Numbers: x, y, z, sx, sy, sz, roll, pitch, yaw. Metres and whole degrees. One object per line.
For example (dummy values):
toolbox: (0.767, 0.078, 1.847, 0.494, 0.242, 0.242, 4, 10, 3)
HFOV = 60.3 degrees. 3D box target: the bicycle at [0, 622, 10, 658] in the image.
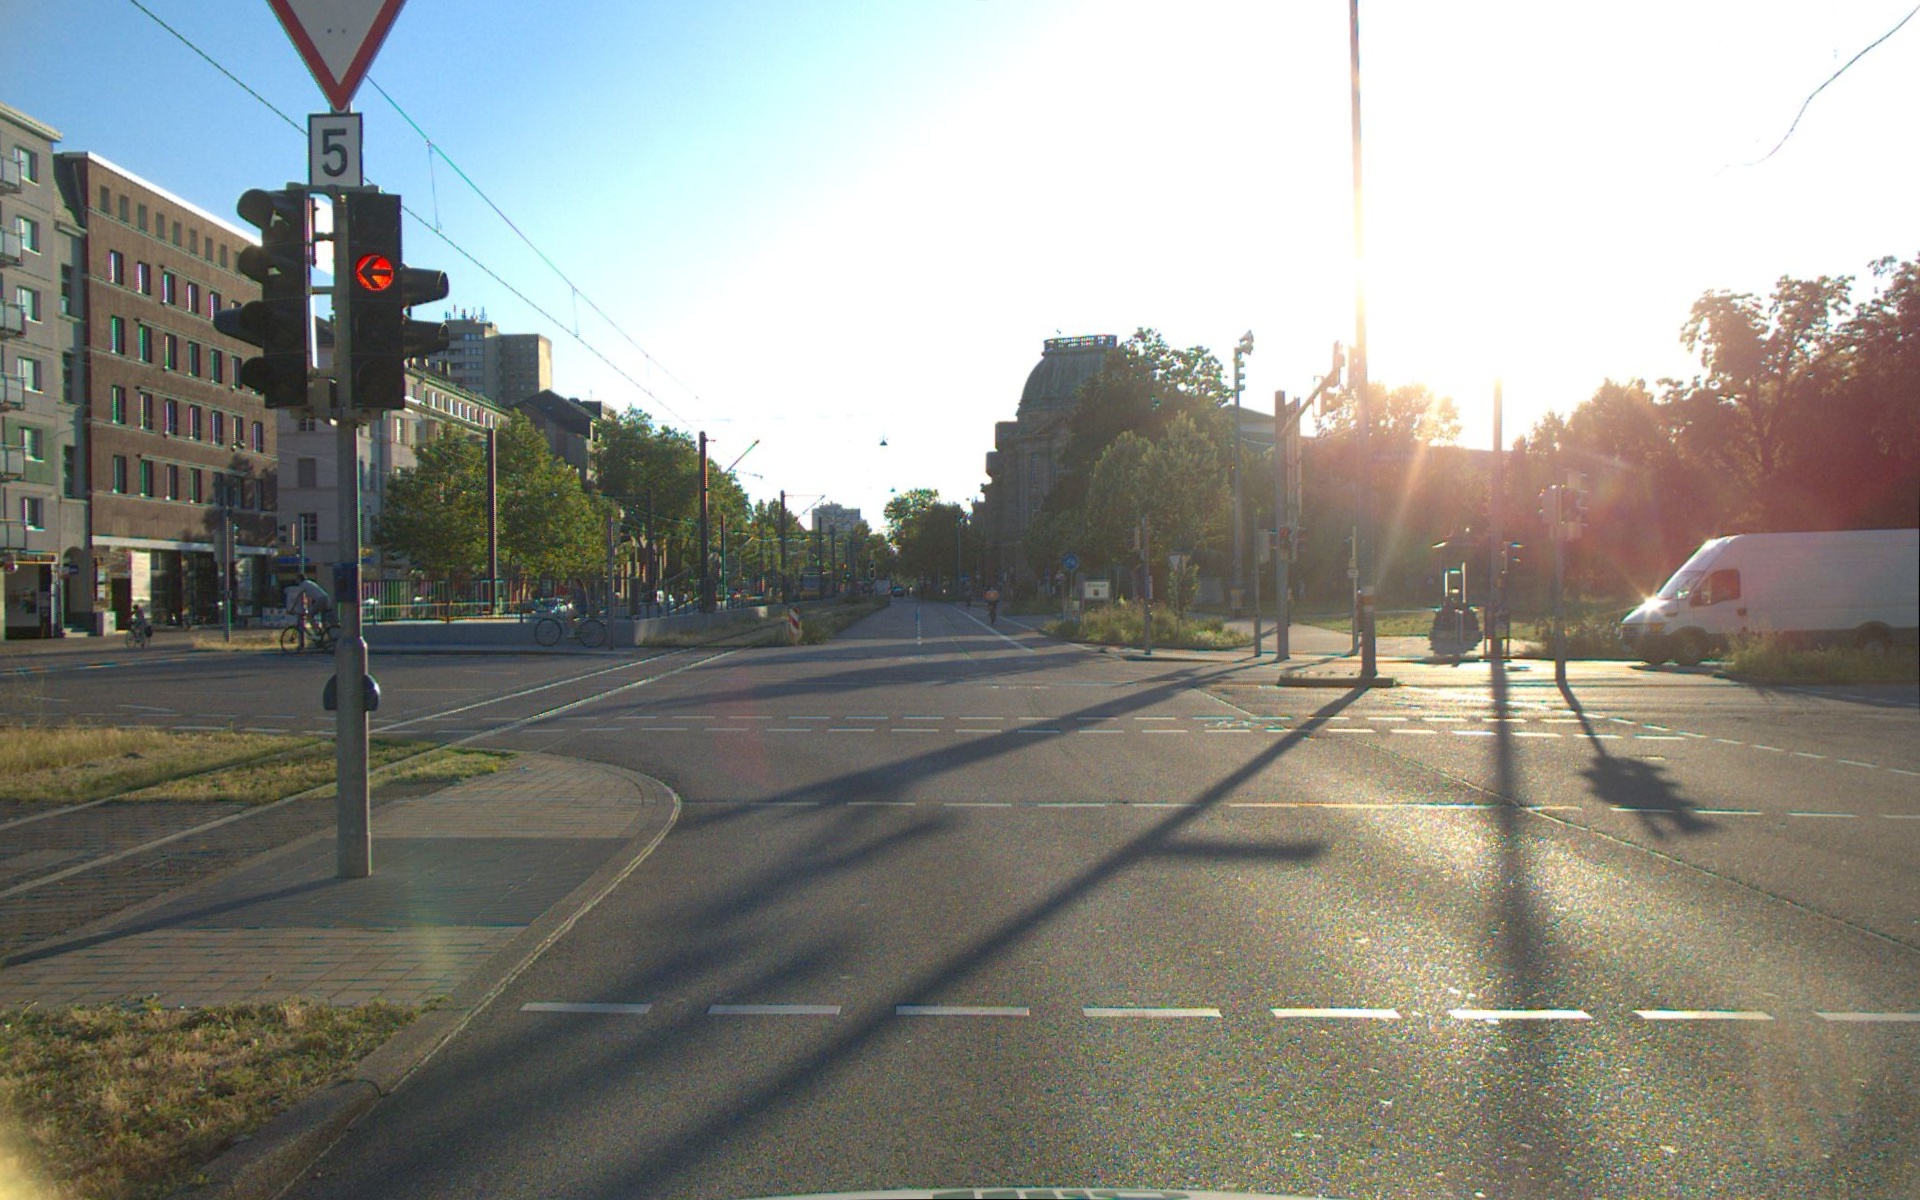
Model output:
bicycle: (-32.915, 1.352, 55.478, 1.655, 1.173, 0.705, -1, 0, 1)

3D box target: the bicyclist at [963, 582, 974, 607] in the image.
bicyclist: (0.741, -0.449, 138.514, 0.907, 2.049, 0.850, 0, 0, -1)

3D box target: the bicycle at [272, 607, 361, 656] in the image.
bicycle: (-15.260, 0.741, 39.242, 1.868, 1.094, 0.630, -1, 0, -14)

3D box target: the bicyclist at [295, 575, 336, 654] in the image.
bicyclist: (-15.280, 0.343, 39.225, 0.779, 1.850, 0.644, -1, 0, -13)

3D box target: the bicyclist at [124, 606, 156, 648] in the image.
bicyclist: (-28.523, 0.931, 57.541, 0.489, 1.451, 0.857, -1, 0, 26)

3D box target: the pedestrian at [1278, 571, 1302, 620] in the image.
pedestrian: (12.366, -0.172, 61.932, 0.815, 1.835, 0.811, -1, 0, 14)

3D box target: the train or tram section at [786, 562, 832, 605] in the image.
train or tram section: (-14.885, -1.718, 163.210, 4.301, 3.916, 11.401, -1, 2, -5)

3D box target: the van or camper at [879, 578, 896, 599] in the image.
van or camper: (-10.151, -1.620, 231.427, 2.400, 2.819, 5.598, -1, 0, -3)

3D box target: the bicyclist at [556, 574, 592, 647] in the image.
bicyclist: (-9.899, 0.253, 42.426, 0.862, 1.850, 0.535, 0, 0, -16)

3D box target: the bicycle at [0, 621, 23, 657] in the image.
bicycle: (-32.901, 1.338, 56.236, 1.655, 1.199, 0.748, -1, 0, 1)

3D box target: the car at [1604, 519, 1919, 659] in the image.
car: (17.788, -0.252, 35.781, 6.866, 2.877, 2.093, -1, 0, 1)

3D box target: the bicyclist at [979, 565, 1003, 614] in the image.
bicyclist: (1.467, -0.481, 78.697, 1.060, 2.316, 0.986, 0, 0, -1)

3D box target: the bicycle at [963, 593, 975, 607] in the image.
bicycle: (0.757, 0.014, 138.576, 0.905, 1.131, 2.332, -1, 0, -1)

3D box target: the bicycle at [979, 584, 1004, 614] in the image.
bicycle: (1.470, -0.046, 78.767, 1.075, 1.423, 2.831, -1, 0, -1)

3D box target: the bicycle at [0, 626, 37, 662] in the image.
bicycle: (-32.871, 1.517, 57.011, 1.655, 1.190, 0.748, -1, 0, 1)

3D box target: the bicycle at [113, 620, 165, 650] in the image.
bicycle: (-28.532, 1.213, 57.513, 0.498, 0.961, 1.667, -1, 0, 25)

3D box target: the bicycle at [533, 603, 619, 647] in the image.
bicycle: (-9.852, 0.638, 42.448, 2.129, 1.102, 0.536, 0, -1, -17)

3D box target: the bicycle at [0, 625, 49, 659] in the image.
bicycle: (-32.842, 1.471, 57.744, 1.655, 1.164, 0.697, -1, 0, 1)
